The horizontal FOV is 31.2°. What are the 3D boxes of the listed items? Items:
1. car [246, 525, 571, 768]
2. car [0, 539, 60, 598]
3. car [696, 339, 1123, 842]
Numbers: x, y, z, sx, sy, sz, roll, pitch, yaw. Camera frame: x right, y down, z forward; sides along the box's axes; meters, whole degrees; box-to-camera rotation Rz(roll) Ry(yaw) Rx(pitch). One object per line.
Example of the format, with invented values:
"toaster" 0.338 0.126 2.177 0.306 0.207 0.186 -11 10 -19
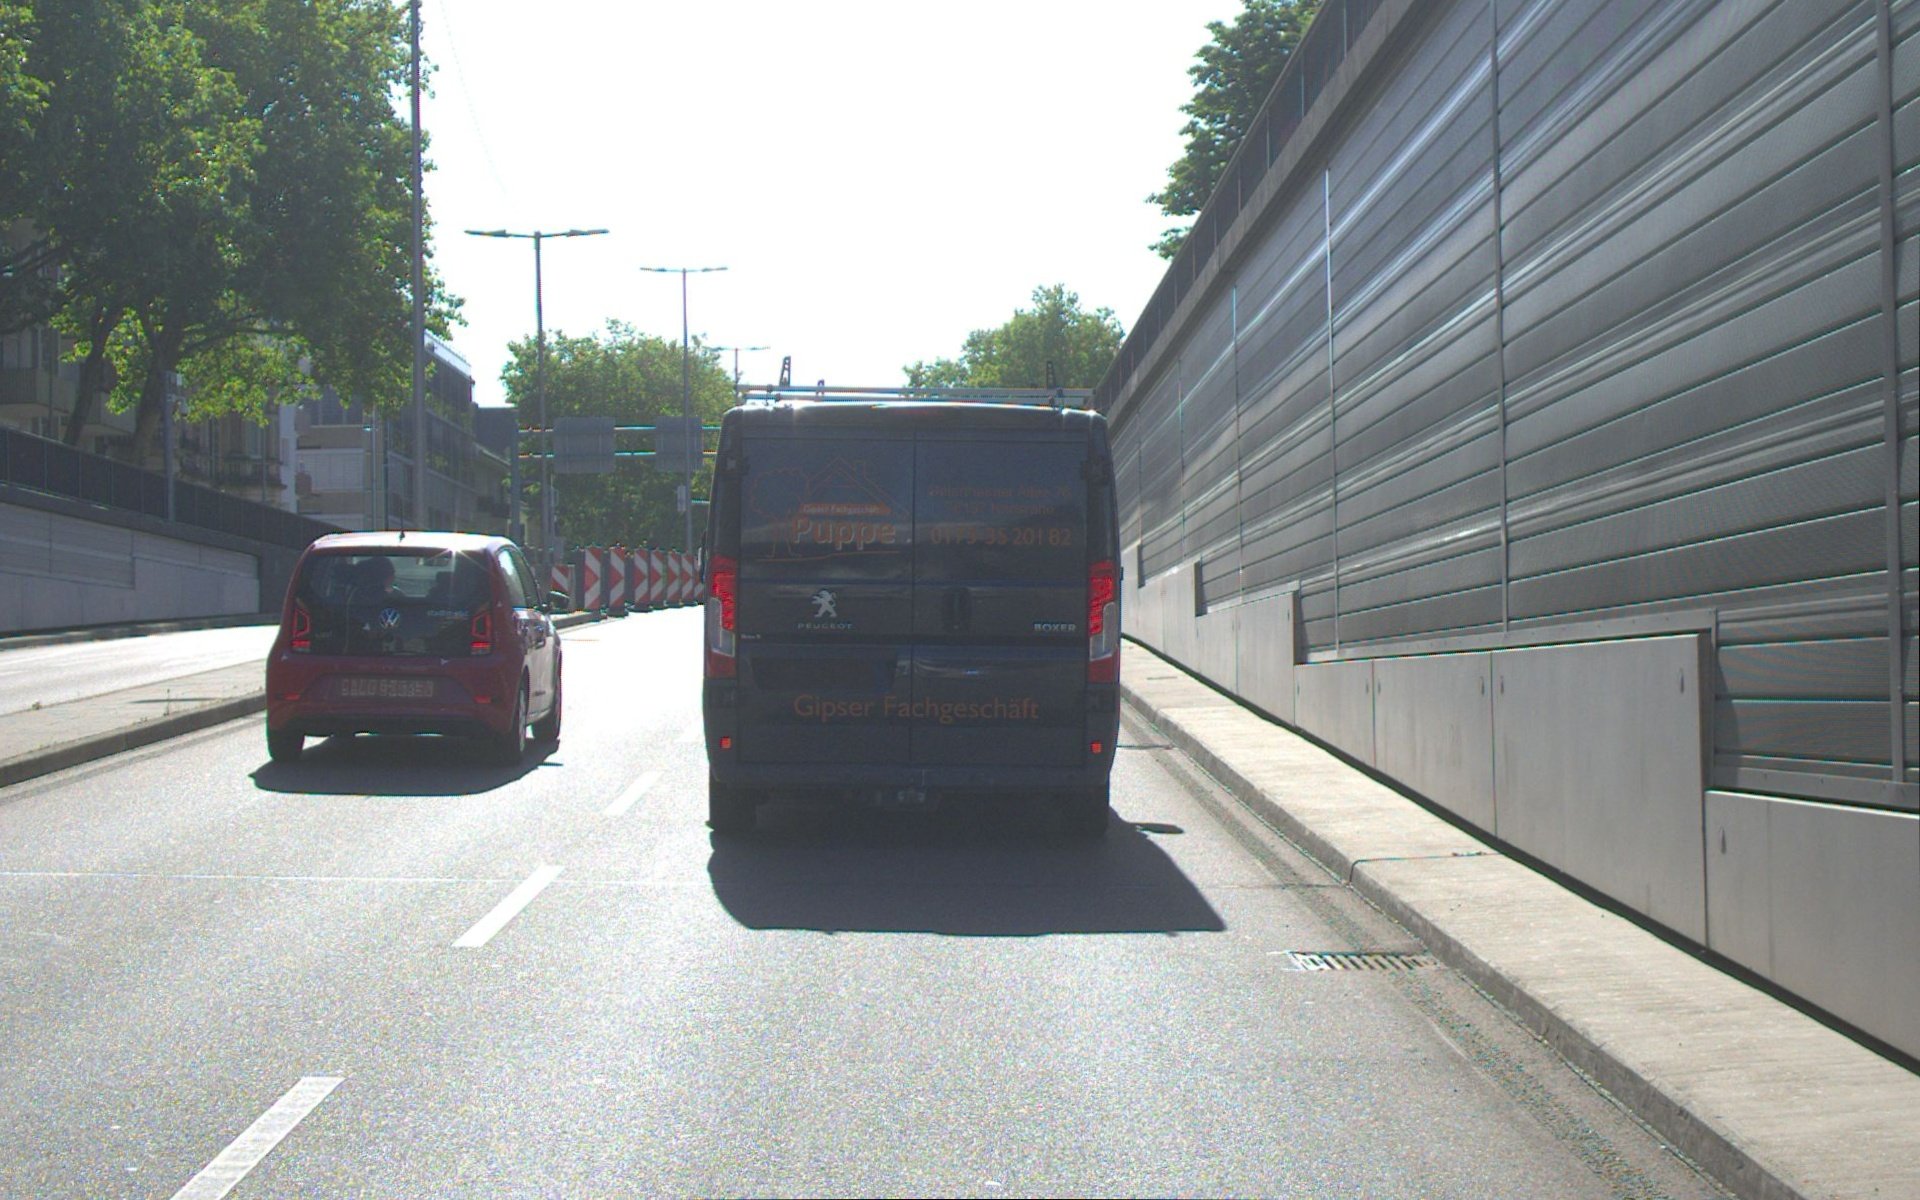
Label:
"car" -3.595 0.251 22.896 1.689 1.478 3.319 1 1 -1
"car" -23.830 -0.767 85.172 1.993 1.384 4.172 1 -1 -1
"car" -0.263 -0.060 18.365 2.030 2.394 3.973 0 0 -1
